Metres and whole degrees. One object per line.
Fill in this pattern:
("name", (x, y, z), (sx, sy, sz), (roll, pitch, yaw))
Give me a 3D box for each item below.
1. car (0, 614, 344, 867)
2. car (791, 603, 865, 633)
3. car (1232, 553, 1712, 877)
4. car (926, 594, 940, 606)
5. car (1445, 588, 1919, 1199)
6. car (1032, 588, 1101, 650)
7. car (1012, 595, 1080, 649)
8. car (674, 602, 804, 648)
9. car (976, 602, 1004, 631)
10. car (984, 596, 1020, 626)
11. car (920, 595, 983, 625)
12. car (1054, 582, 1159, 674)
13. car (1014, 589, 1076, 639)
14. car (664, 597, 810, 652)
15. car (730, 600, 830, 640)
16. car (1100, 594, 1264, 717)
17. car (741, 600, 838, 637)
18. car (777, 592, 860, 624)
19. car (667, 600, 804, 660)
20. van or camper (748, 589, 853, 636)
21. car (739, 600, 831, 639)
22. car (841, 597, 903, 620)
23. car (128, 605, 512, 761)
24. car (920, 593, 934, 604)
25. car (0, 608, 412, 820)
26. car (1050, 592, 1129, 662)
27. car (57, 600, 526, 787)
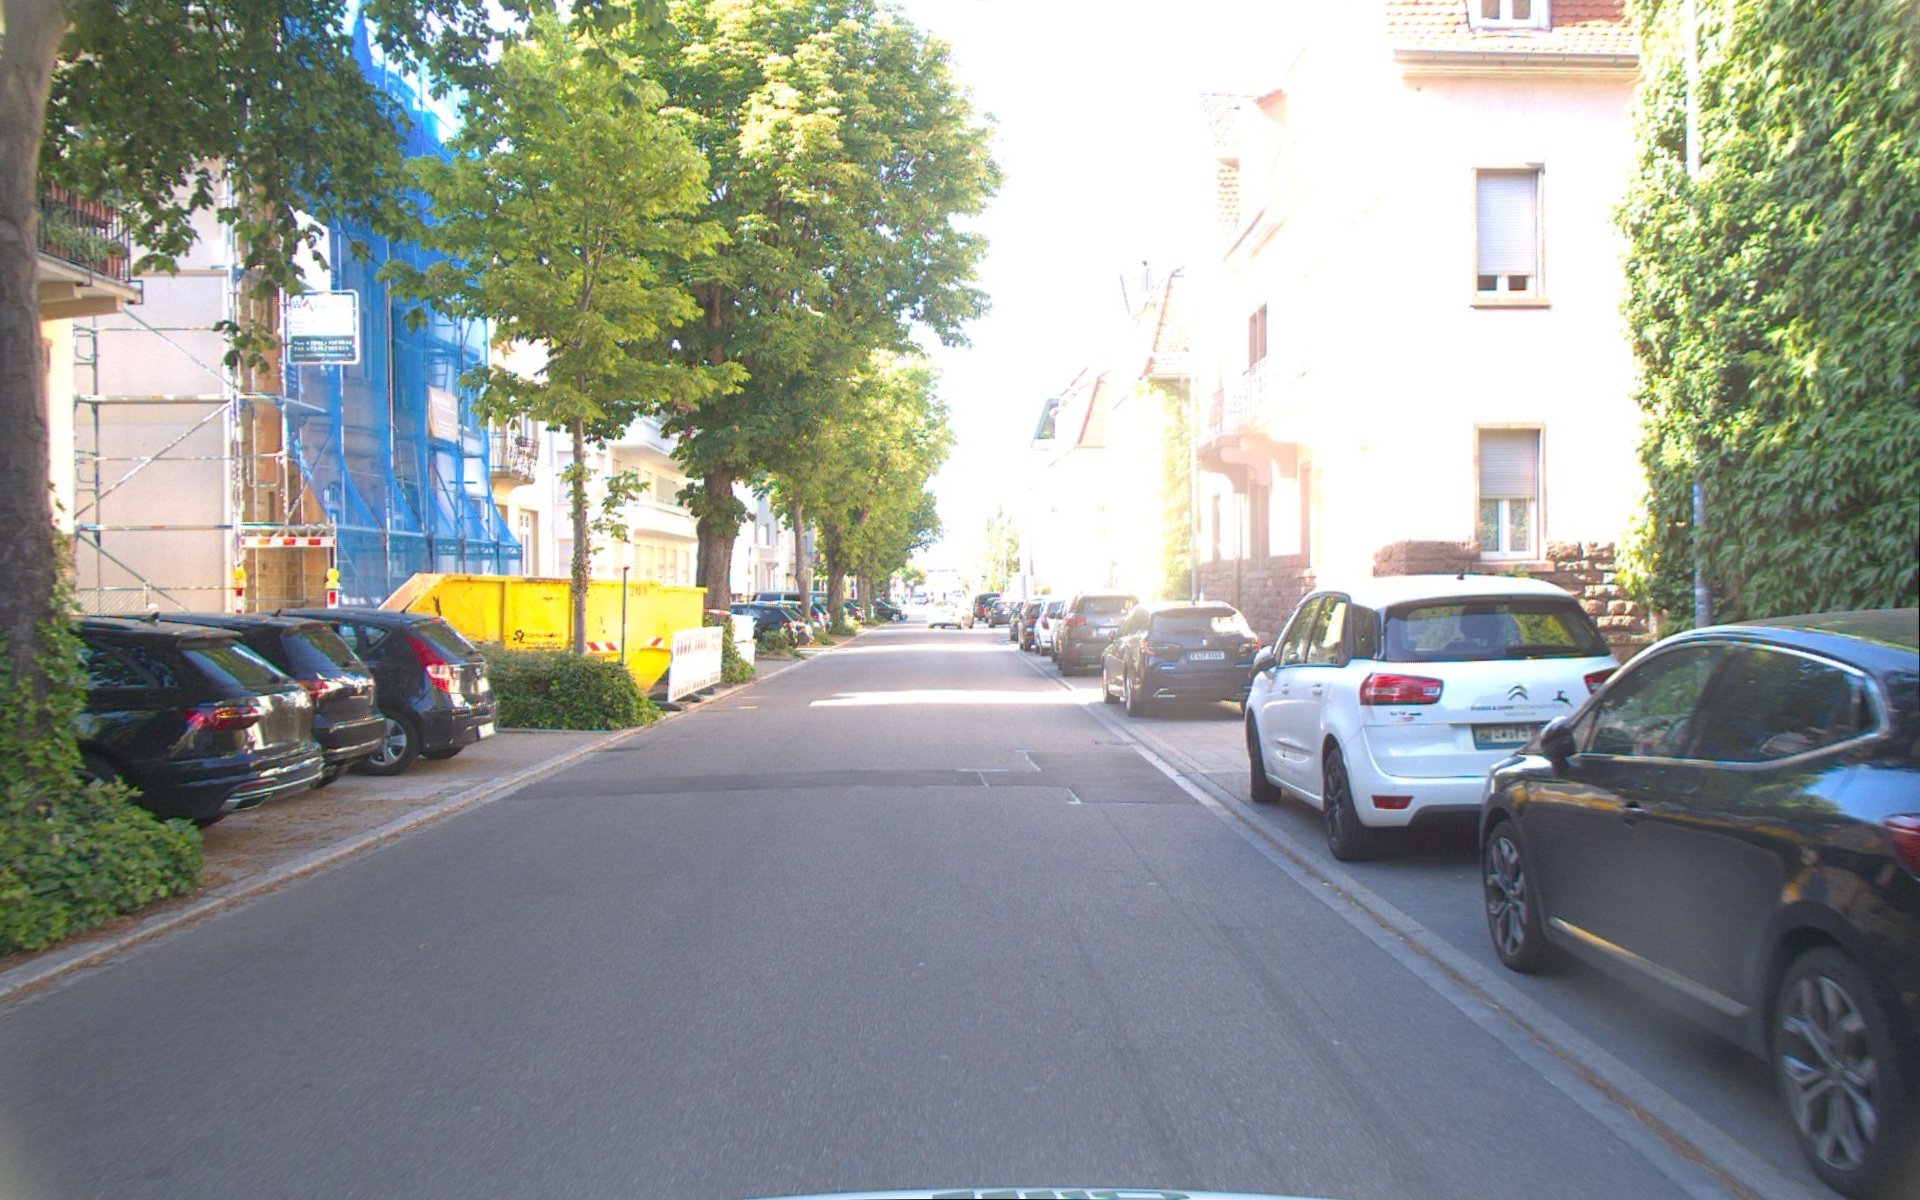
("car", (-6.253, 0.833, 10.459), (4.055, 1.425, 1.710), (0, 0, -1))
("car", (-7.131, 0.948, 89.610), (3.906, 1.494, 1.696), (-1, 0, -1))
("car", (3.094, 0.606, 10.977), (1.829, 1.673, 4.199), (-2, 0, 0))
("car", (-4.010, -0.004, 244.657), (1.836, 1.758, 3.996), (-1, 0, -5))
("car", (3.053, 0.706, 5.500), (1.603, 1.446, 4.007), (-2, 0, -1))
("car", (2.889, 0.530, 45.487), (1.543, 1.576, 3.467), (-2, -1, -1))
("car", (2.549, 0.662, 49.796), (1.675, 1.461, 4.192), (-3, -1, -1))
("car", (-7.332, 0.821, 55.121), (4.103, 1.466, 1.712), (-1, 0, -2))
("car", (2.120, 1.157, 117.187), (1.833, 1.938, 5.197), (-2, 0, 1))
("car", (2.225, 0.566, 87.802), (1.587, 1.465, 3.933), (-4, 1, -2))
("car", (-0.398, 0.512, 84.527), (1.692, 1.445, 3.958), (-1, 0, 25))
("car", (2.908, 0.561, 33.640), (1.741, 1.726, 4.320), (1, -1, 0))
("car", (2.879, 0.494, 56.714), (1.755, 1.547, 4.365), (-2, -1, -1))
("car", (-7.084, 0.747, 52.462), (4.505, 1.635, 1.829), (-1, 0, -10))
("car", (-6.782, 0.746, 62.534), (3.568, 1.488, 1.710), (0, 0, 1))
("car", (2.912, 0.671, 22.519), (1.610, 1.479, 4.502), (-1, 0, 0))
("car", (-6.911, 0.746, 67.320), (3.843, 1.439, 1.715), (0, 1, -3))
("car", (-7.204, 0.409, 84.695), (4.102, 1.525, 1.861), (-1, 0, -2))
("car", (-6.539, 0.849, 48.126), (3.800, 1.540, 1.829), (-2, 0, -10))
("van or camper", (-6.996, 0.545, 72.877), (4.405, 1.948, 1.964), (-1, 0, -1))
("car", (-6.833, 0.751, 64.895), (3.407, 1.483, 1.797), (0, 0, 0))
("car", (-6.094, 0.595, 114.689), (4.102, 1.473, 1.712), (1, -1, 1))
("car", (-6.895, 0.870, 18.075), (3.477, 1.473, 1.695), (-2, 0, 0))
("car", (-4.998, -0.188, 249.663), (1.753, 1.559, 3.994), (-1, 0, -6))
("car", (-6.474, 0.873, 13.082), (3.671, 1.456, 1.646), (-2, 0, -1))
("car", (3.011, 0.623, 38.925), (1.592, 1.576, 2.868), (0, -1, -1))
("car", (-6.181, 0.834, 15.592), (3.649, 1.490, 1.715), (-2, 1, 0))
